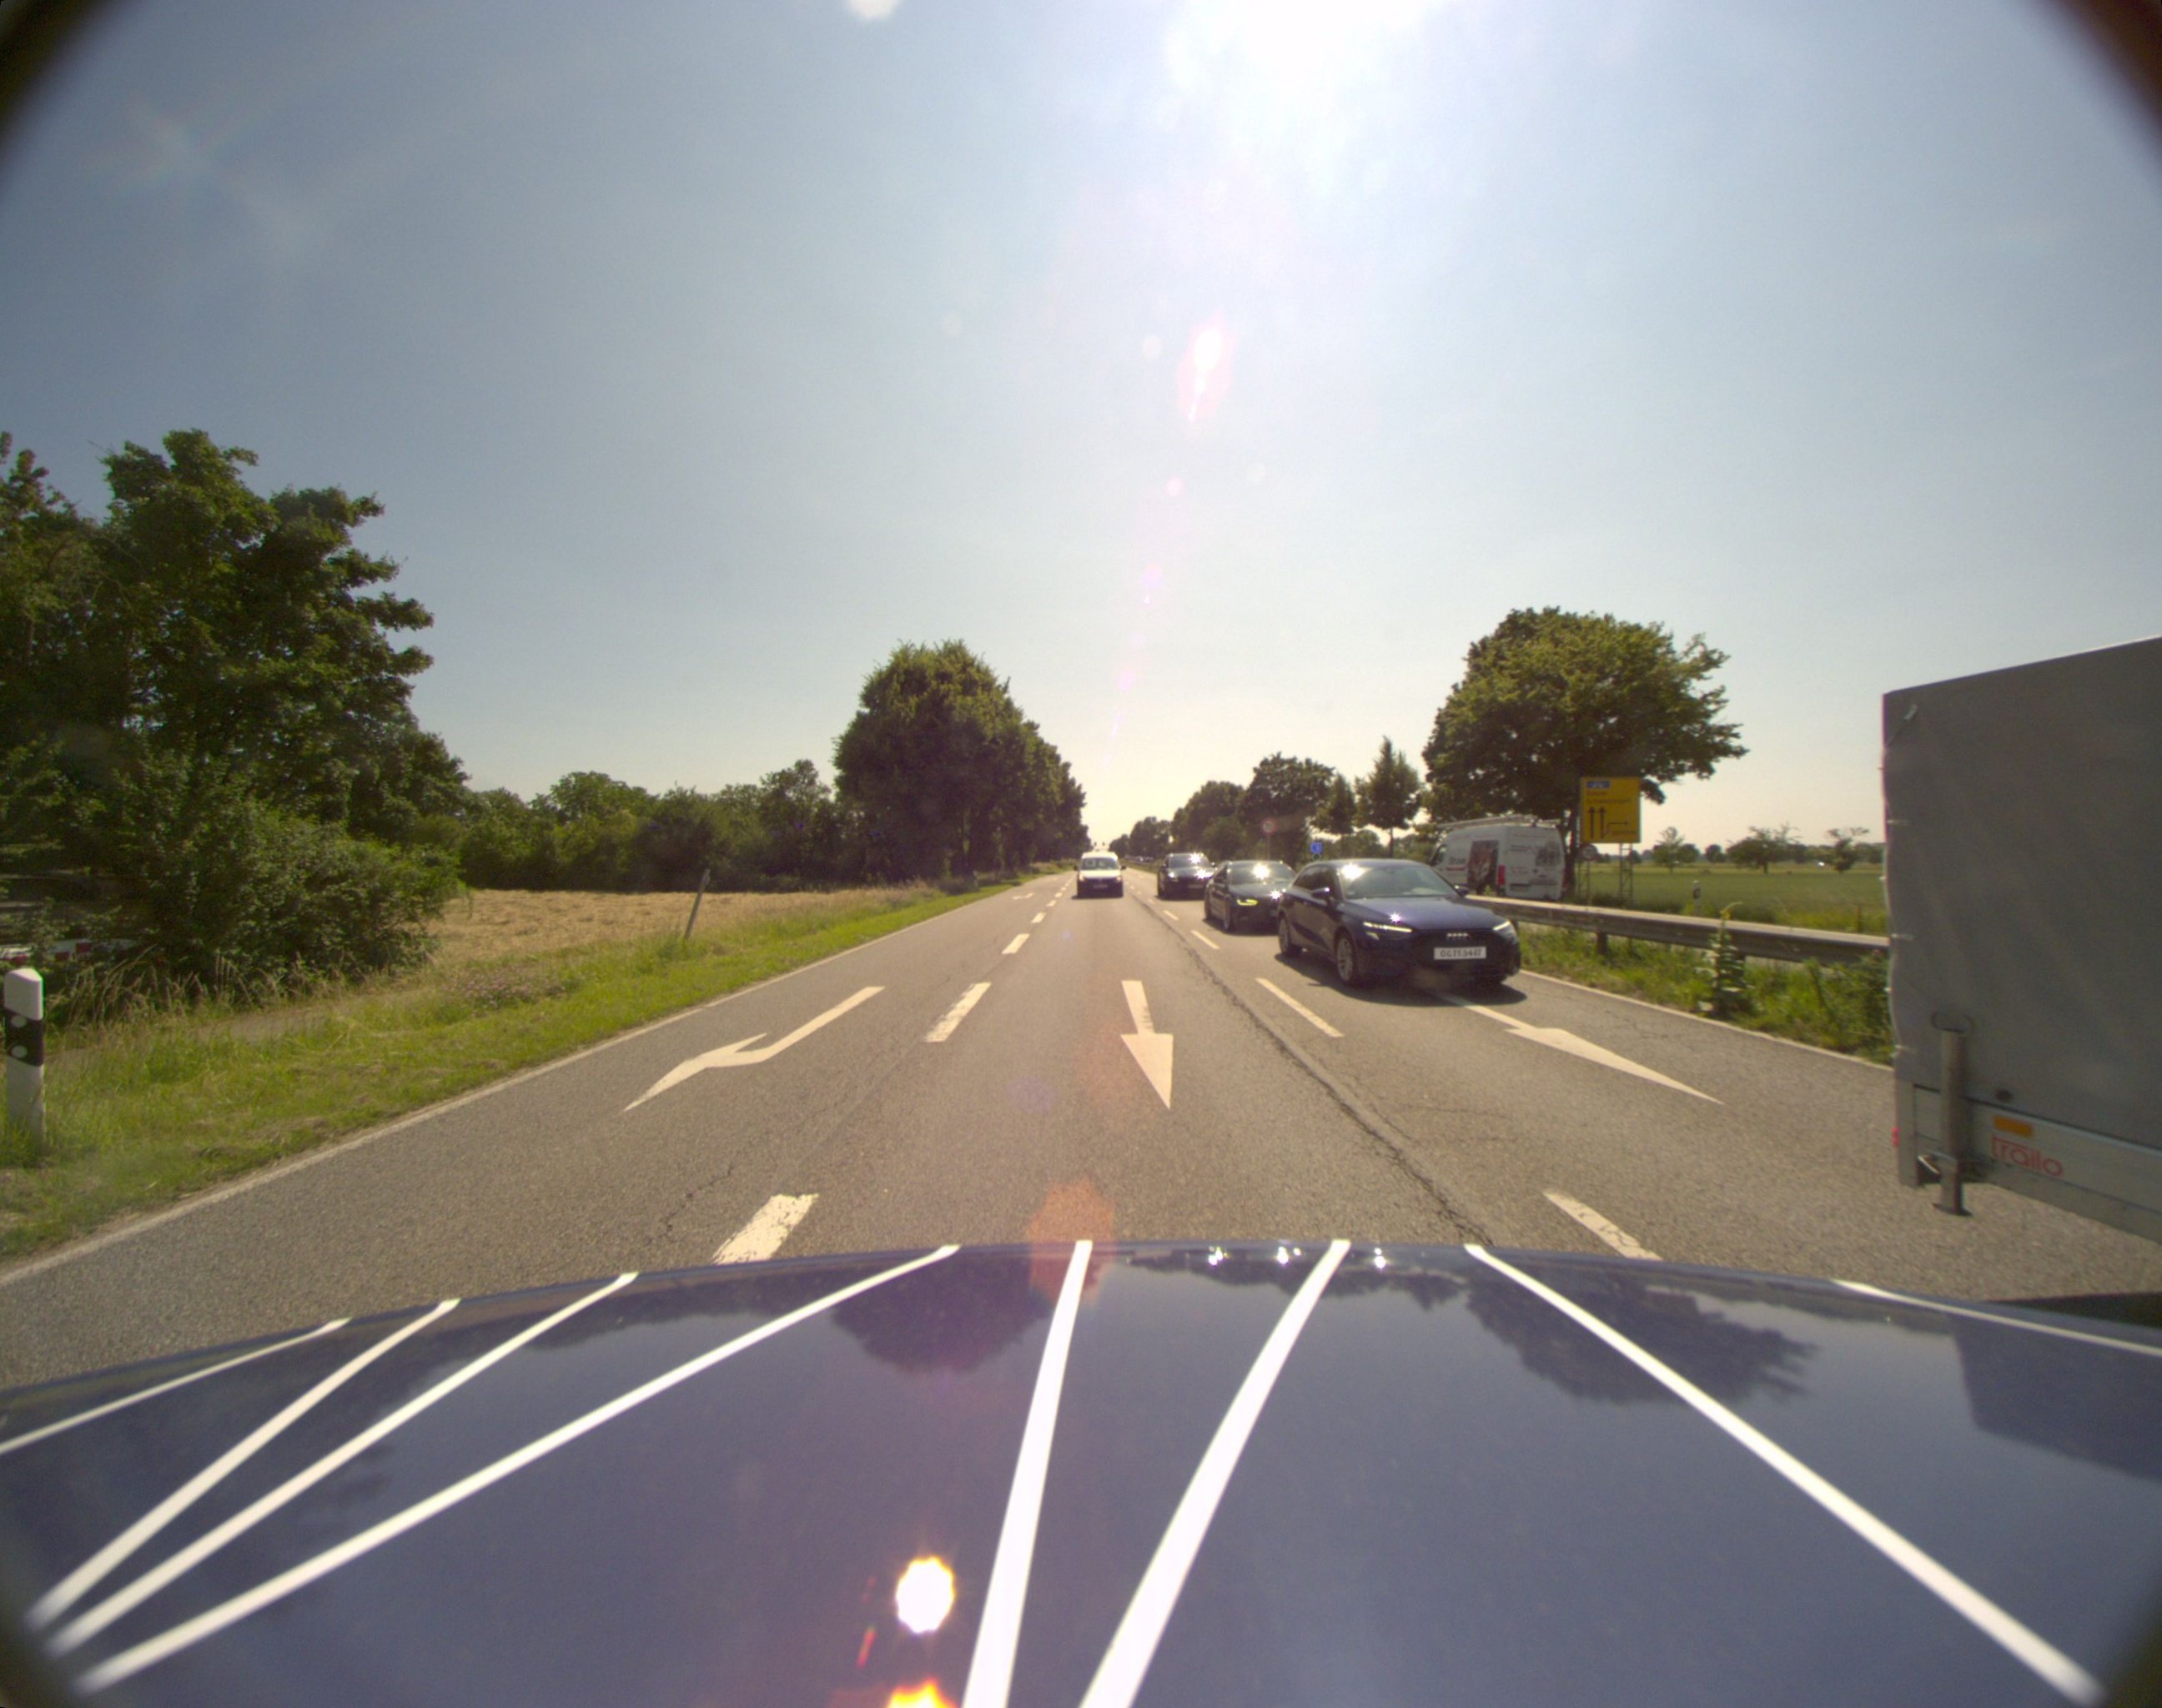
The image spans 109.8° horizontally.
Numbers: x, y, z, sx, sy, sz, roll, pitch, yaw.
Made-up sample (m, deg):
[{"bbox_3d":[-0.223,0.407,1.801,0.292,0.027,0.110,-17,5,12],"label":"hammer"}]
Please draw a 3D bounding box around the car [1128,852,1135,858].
[{"bbox_3d":[16.628,0.306,249.861,2.043,2.002,4.532,0,0,0],"label":"car"}]

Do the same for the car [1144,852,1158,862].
[{"bbox_3d":[11.752,0.516,128.233,1.998,1.594,4.480,0,0,0],"label":"car"}]

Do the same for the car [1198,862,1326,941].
[{"bbox_3d":[3.718,0.917,16.419,1.744,1.372,4.455,-2,0,1],"label":"car"}]

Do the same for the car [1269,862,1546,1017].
[{"bbox_3d":[3.748,0.877,9.579,1.721,1.456,4.030,-1,0,0],"label":"car"}]

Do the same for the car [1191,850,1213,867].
[{"bbox_3d":[14.760,0.568,92.846,1.998,1.940,4.830,1,0,0],"label":"car"}]

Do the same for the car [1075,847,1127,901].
[{"bbox_3d":[0.750,0.719,29.566,1.777,1.863,4.581,-2,0,1],"label":"car"}]

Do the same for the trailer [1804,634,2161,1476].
[{"bbox_3d":[3.497,0.501,0.796,1.504,2.160,4.174,-1,0,1],"label":"trailer"}]

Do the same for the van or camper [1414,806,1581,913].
[{"bbox_3d":[13.239,0.162,24.696,2.269,3.081,5.695,0,0,-1],"label":"van or camper"}]

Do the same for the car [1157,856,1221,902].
[{"bbox_3d":[3.876,0.849,27.860,1.860,1.507,4.100,-1,0,2],"label":"car"}]

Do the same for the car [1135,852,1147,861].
[{"bbox_3d":[12.223,0.499,155.389,1.998,1.653,4.480,0,0,0],"label":"car"}]
